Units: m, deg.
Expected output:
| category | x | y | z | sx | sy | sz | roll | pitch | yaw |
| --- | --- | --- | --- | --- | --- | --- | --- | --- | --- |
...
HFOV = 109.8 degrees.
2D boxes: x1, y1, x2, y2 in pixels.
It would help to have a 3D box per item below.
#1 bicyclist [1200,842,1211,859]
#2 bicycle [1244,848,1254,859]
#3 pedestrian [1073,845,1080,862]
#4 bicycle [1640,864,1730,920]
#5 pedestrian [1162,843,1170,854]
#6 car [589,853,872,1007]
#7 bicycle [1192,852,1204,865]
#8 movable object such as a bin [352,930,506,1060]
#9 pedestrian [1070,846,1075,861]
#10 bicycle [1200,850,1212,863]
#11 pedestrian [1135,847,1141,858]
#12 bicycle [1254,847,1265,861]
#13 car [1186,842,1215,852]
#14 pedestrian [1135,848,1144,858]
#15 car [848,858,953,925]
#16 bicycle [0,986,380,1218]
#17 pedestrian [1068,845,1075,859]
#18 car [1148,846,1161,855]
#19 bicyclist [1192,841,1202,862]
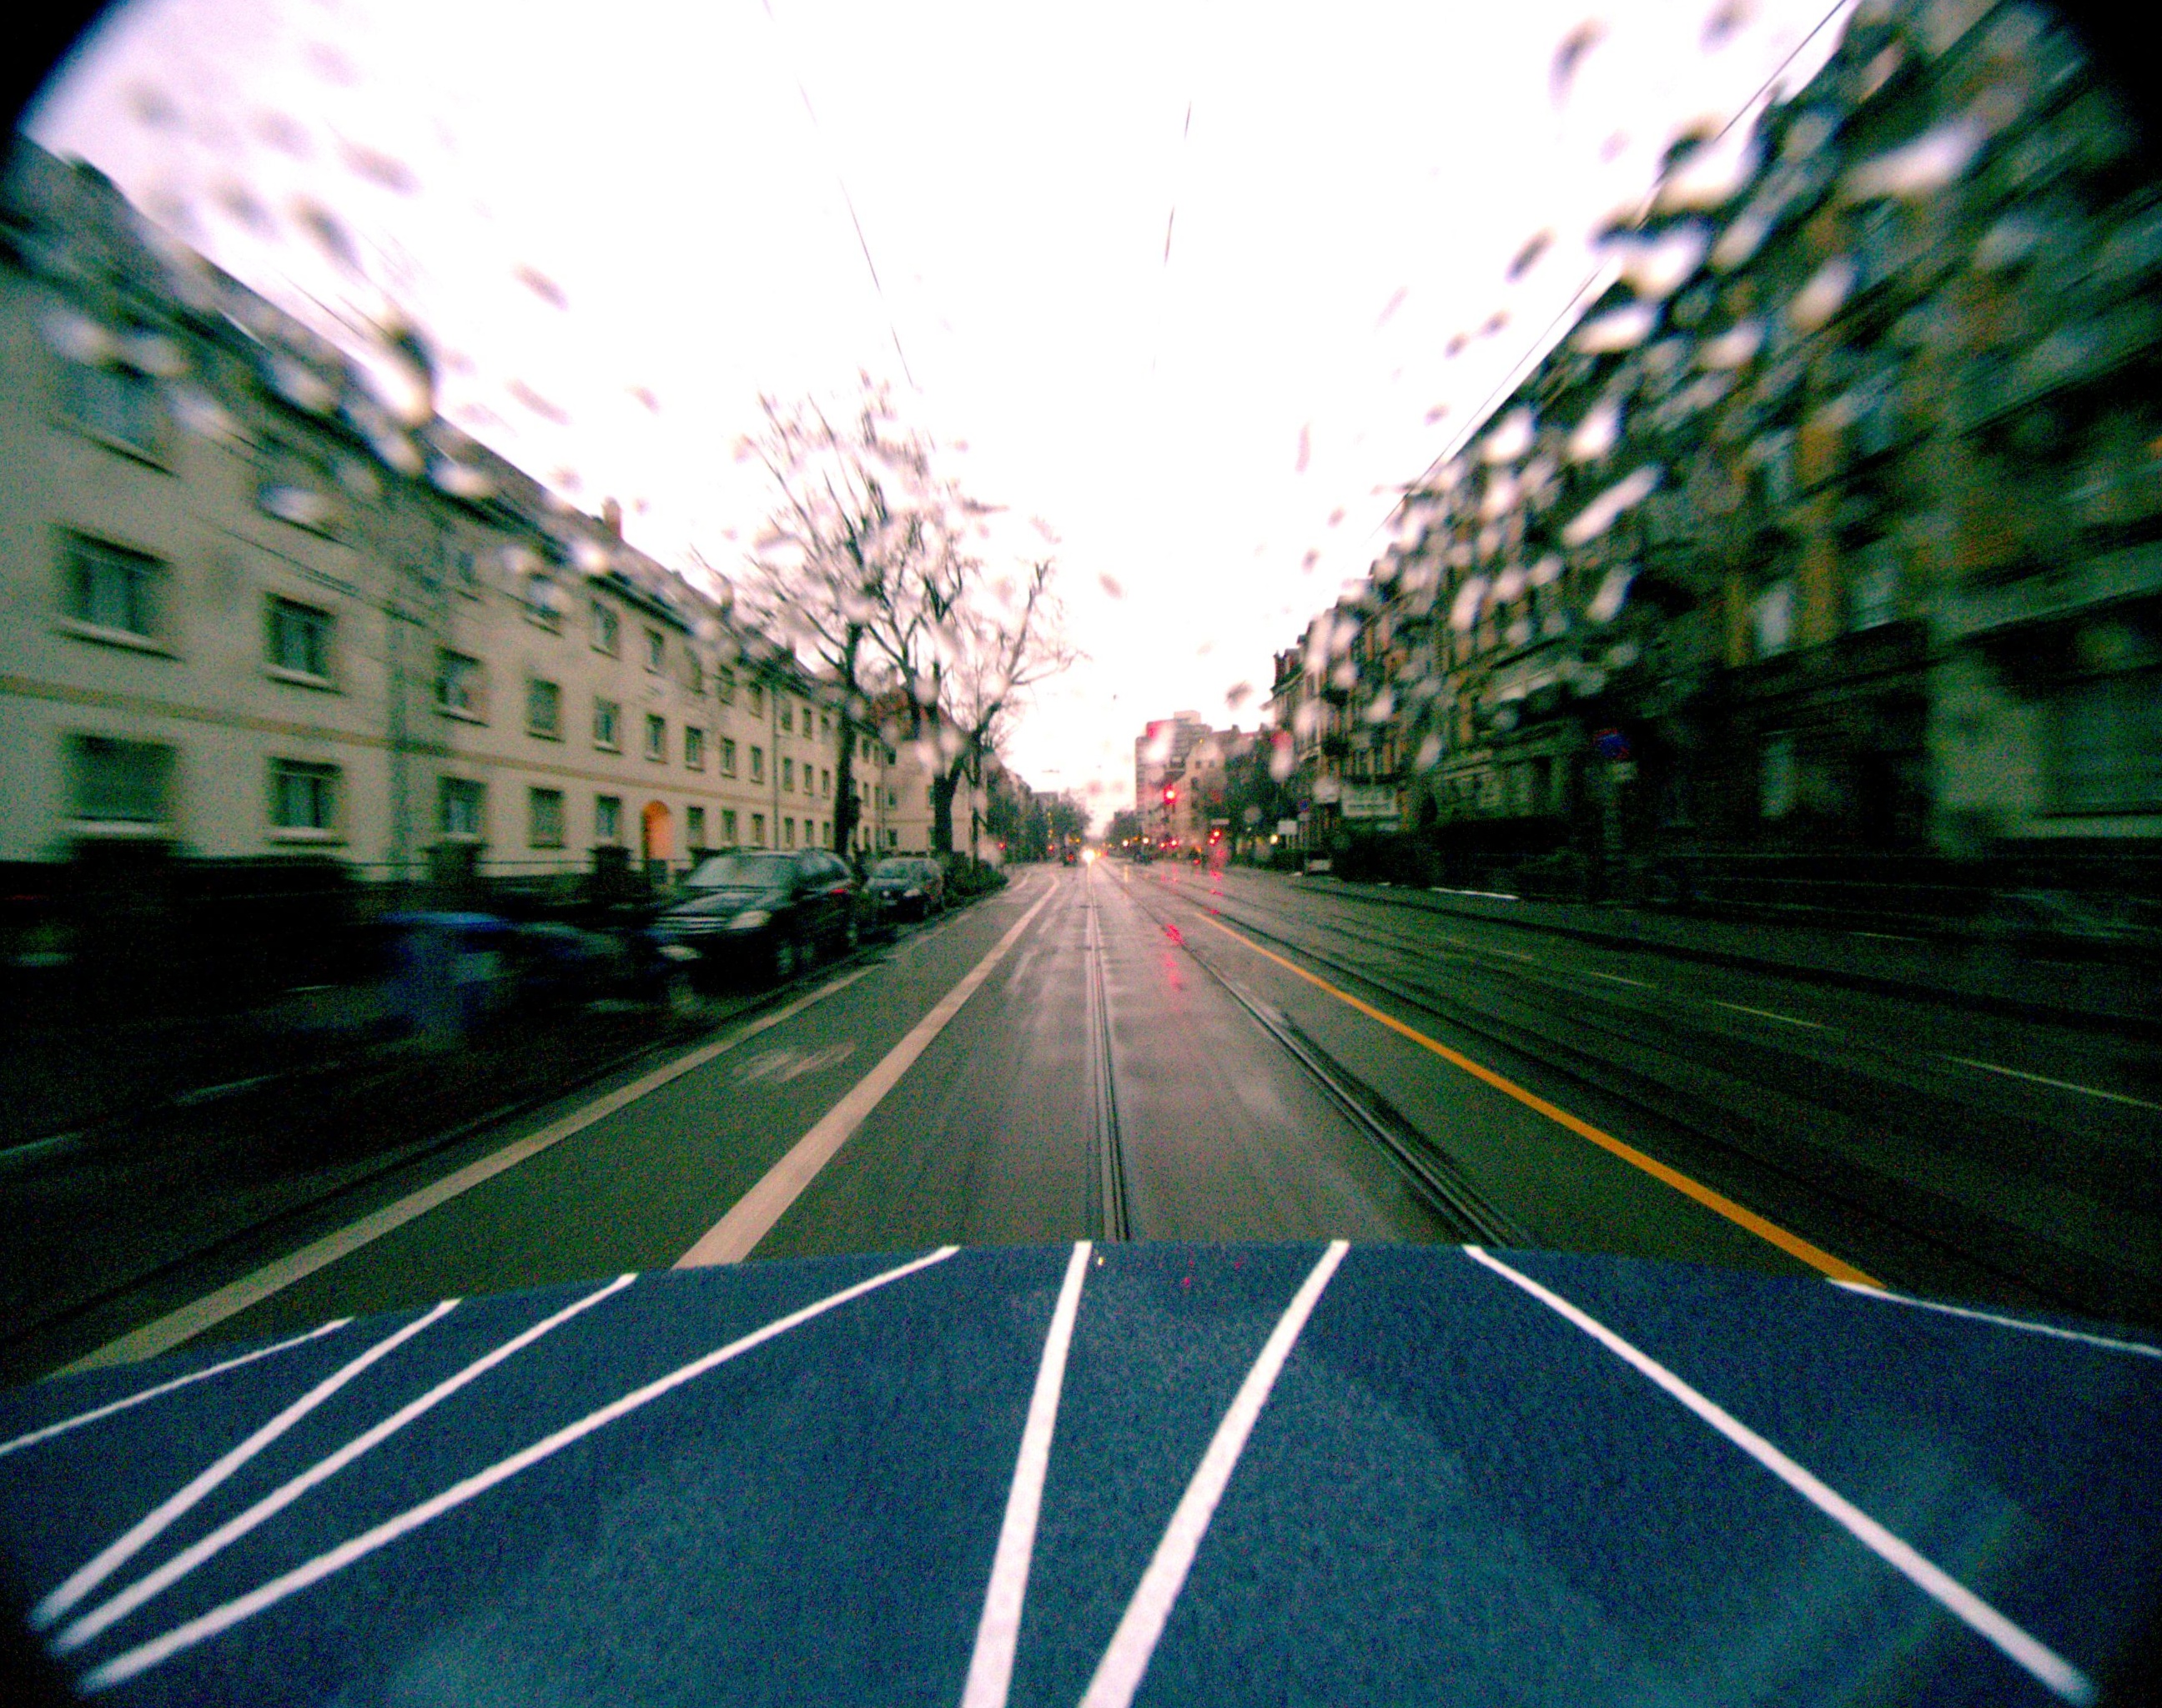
| category | x | y | z | sx | sy | sz | roll | pitch | yaw |
| --- | --- | --- | --- | --- | --- | --- | --- | --- | --- |
| bicyclist | 10.140 | -0.279 | 61.862 | 0.706 | 1.356 | 0.944 | -3 | 1 | 2 |
| bicycle | 13.484 | -0.016 | 60.908 | 0.400 | 0.857 | 1.849 | -1 | 1 | 2 |
| pedestrian | -0.520 | -0.057 | 87.900 | 0.689 | 1.906 | 0.717 | -1 | 1 | -14 |
| bicycle | 11.161 | 0.680 | 14.109 | 0.264 | 0.910 | 1.685 | -7 | 1 | 1 |
| pedestrian | 15.064 | -0.996 | 134.708 | 0.796 | 1.867 | 0.896 | -3 | 2 | 37 |
| car | -4.778 | 0.886 | 11.362 | 1.910 | 1.717 | 4.901 | -1 | 1 | 0 |
| bicycle | 9.007 | 0.321 | 58.747 | 0.680 | 0.966 | 1.933 | -1 | 1 | 2 |
| movable object such as a bin | -5.489 | 1.175 | 6.431 | 0.753 | 0.948 | 0.568 | 4 | 1 | -5 |
| pedestrian | -1.050 | -0.019 | 93.041 | 0.558 | 1.797 | 0.571 | -4 | 1 | 2 |
| bicycle | 10.163 | 0.167 | 61.844 | 0.683 | 1.001 | 1.803 | -1 | 1 | 2 |
| pedestrian | 7.639 | -0.249 | 102.026 | 0.685 | 1.395 | 0.578 | -4 | 1 | 1 |
| bicycle | 13.165 | 0.004 | 56.082 | 0.417 | 1.001 | 1.849 | -1 | 1 | 2 |
| car | 18.576 | -1.105 | 117.759 | 4.336 | 1.574 | 1.938 | -1 | 1 | 11 |
| pedestrian | 7.752 | -0.188 | 100.872 | 1.058 | 1.247 | 0.506 | -4 | 1 | 0 |
| car | -4.634 | 0.899 | 20.136 | 1.790 | 1.501 | 3.987 | -1 | 1 | 0 |
| bicycle | -4.898 | 1.276 | 4.062 | 2.017 | 0.911 | 0.465 | 3 | 2 | 6 |
| pedestrian | -1.108 | -0.259 | 90.291 | 0.659 | 1.698 | 0.571 | -4 | 1 | 1 |
| car | 13.692 | -0.711 | 142.417 | 1.677 | 1.507 | 3.677 | -4 | 1 | -5 |
| bicyclist | 9.002 | -0.201 | 58.874 | 0.685 | 1.607 | 0.765 | -1 | 1 | 2 |
